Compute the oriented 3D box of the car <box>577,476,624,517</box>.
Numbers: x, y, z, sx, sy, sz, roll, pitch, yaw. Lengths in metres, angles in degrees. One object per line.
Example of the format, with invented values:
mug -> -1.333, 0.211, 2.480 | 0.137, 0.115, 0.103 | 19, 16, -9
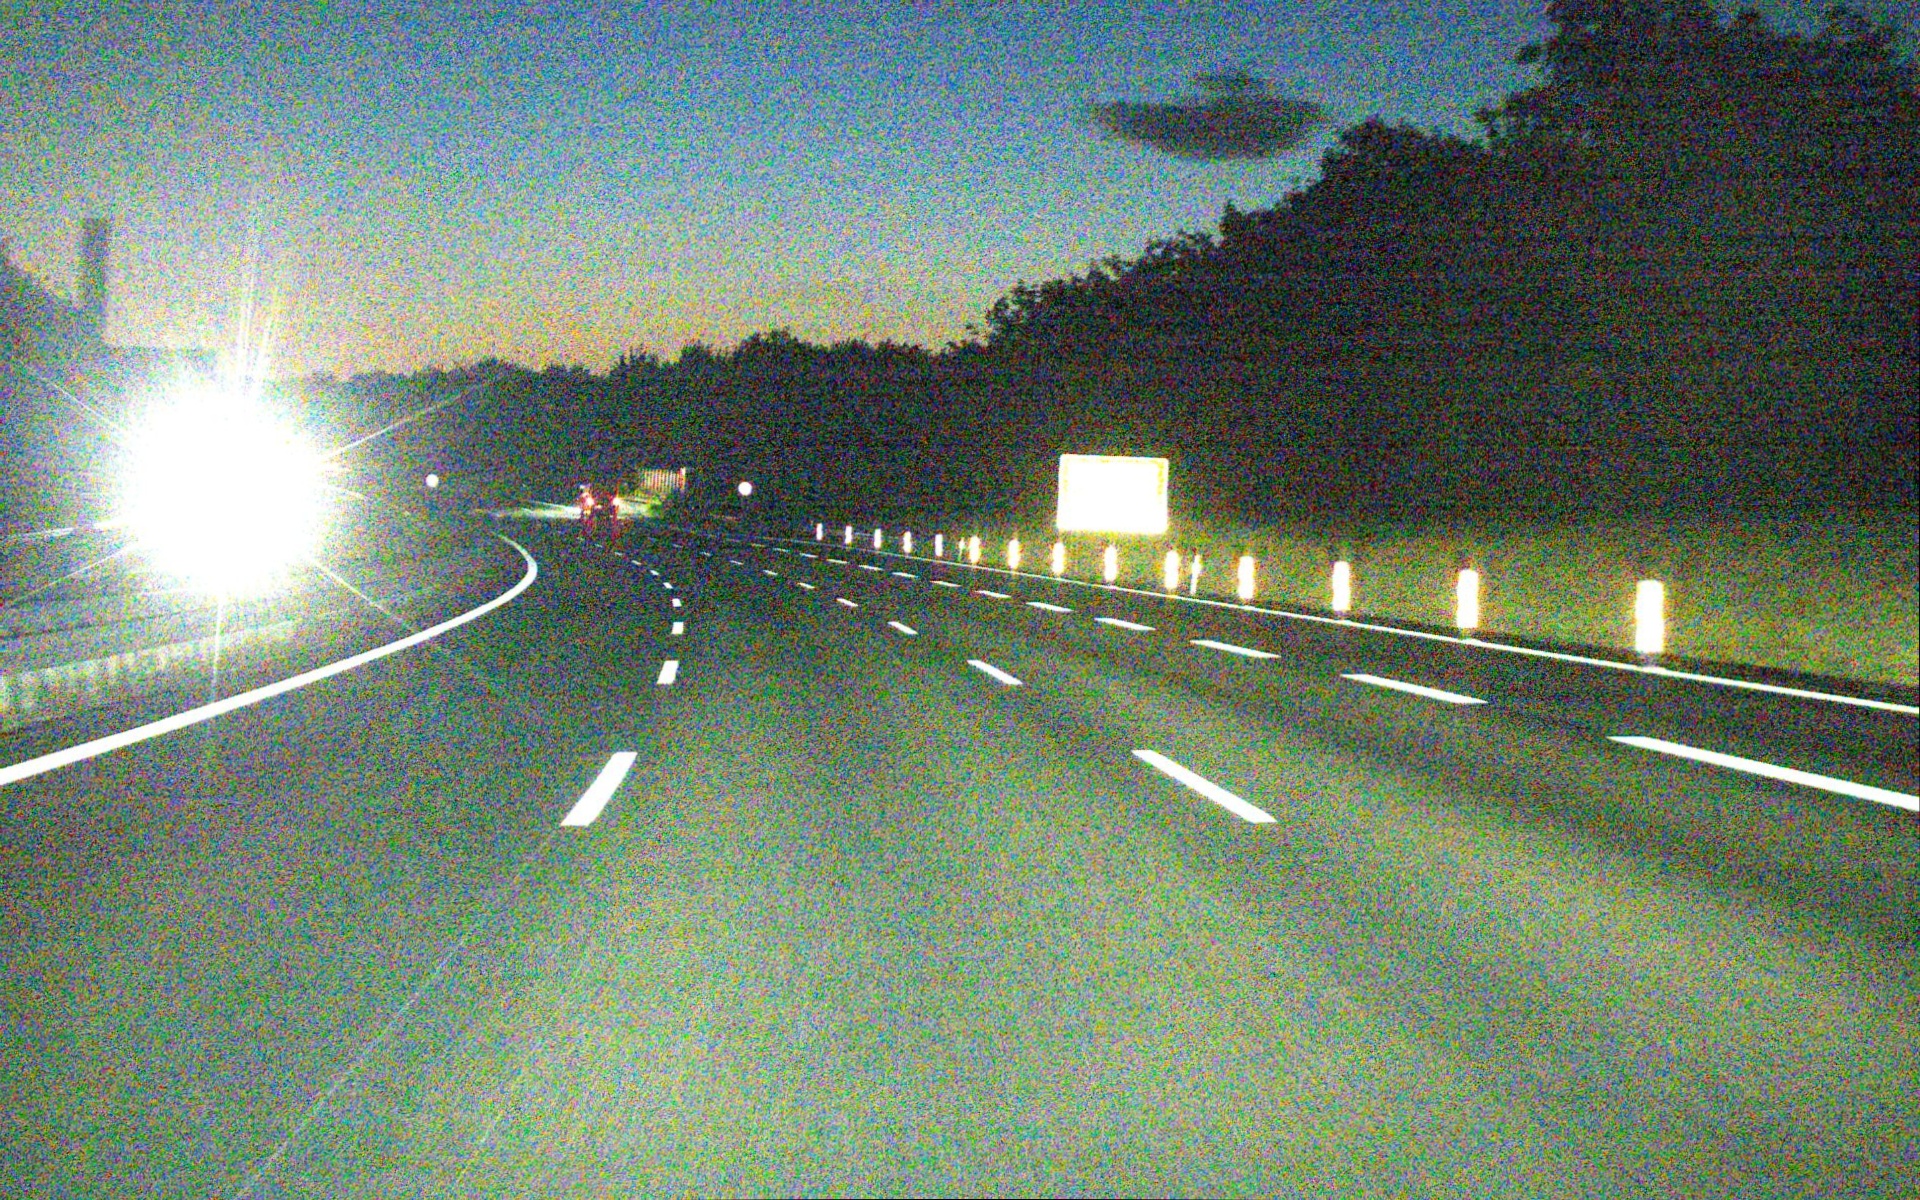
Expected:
car -> -24.533, -7.080, 234.416 | 2.527, 2.544, 6.053 | 2, 2, -11
